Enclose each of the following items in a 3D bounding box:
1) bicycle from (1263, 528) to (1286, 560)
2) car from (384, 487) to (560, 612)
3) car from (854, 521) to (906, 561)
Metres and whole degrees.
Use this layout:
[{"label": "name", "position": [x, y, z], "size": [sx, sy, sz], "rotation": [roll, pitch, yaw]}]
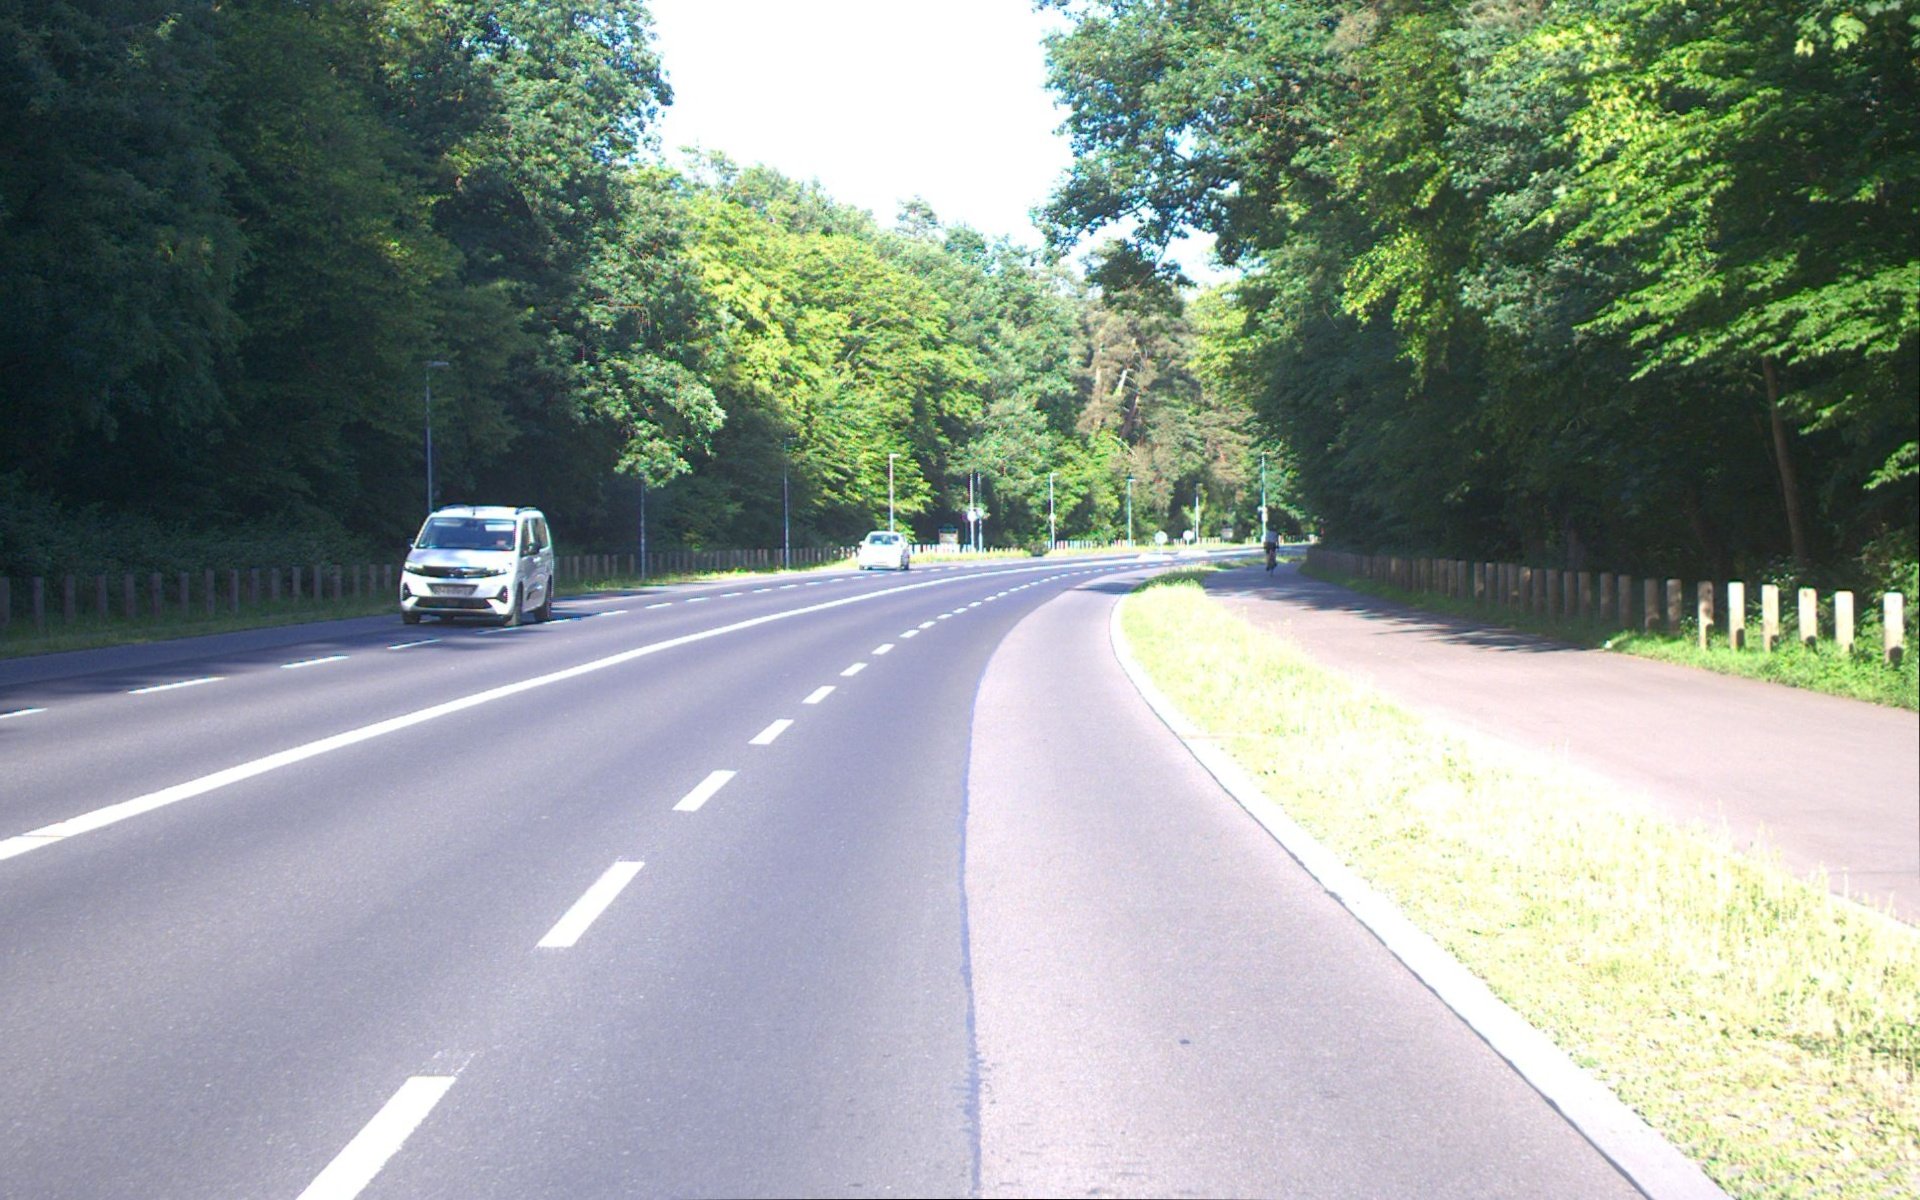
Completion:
[{"label": "bicycle", "position": [10.649, -1.899, 116.440], "size": [0.712, 1.052, 2.052], "rotation": [0, 1, 7]}, {"label": "car", "position": [-7.598, -0.811, 53.967], "size": [2.001, 1.820, 5.000], "rotation": [2, 1, 0]}, {"label": "car", "position": [-3.054, -2.280, 132.014], "size": [1.587, 1.432, 4.308], "rotation": [2, 1, 4]}]
